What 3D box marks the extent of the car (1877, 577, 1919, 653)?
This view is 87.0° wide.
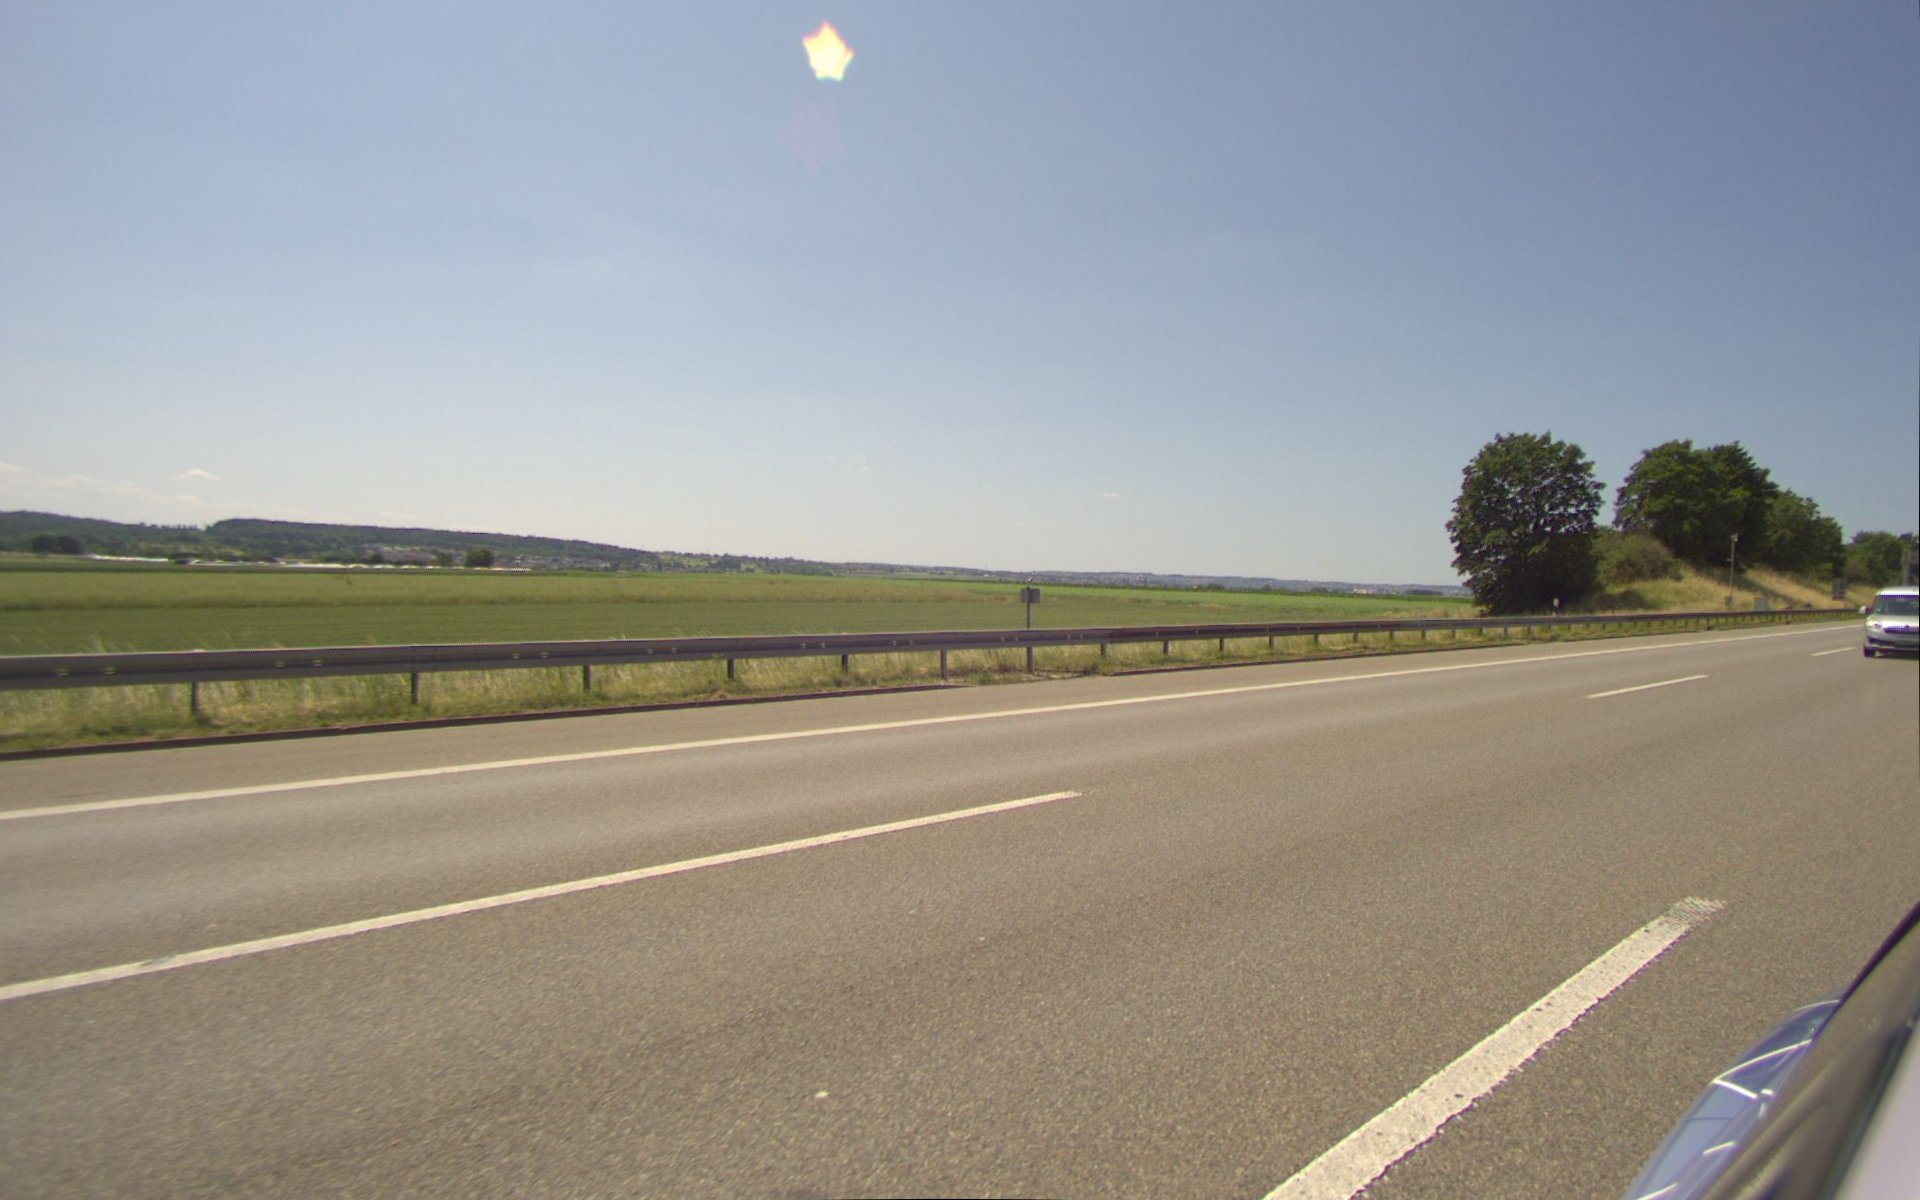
[{"bbox_3d":[25.617,0.366,26.558,5.221,1.870,1.809,0,1,-43],"label":"car"}]
